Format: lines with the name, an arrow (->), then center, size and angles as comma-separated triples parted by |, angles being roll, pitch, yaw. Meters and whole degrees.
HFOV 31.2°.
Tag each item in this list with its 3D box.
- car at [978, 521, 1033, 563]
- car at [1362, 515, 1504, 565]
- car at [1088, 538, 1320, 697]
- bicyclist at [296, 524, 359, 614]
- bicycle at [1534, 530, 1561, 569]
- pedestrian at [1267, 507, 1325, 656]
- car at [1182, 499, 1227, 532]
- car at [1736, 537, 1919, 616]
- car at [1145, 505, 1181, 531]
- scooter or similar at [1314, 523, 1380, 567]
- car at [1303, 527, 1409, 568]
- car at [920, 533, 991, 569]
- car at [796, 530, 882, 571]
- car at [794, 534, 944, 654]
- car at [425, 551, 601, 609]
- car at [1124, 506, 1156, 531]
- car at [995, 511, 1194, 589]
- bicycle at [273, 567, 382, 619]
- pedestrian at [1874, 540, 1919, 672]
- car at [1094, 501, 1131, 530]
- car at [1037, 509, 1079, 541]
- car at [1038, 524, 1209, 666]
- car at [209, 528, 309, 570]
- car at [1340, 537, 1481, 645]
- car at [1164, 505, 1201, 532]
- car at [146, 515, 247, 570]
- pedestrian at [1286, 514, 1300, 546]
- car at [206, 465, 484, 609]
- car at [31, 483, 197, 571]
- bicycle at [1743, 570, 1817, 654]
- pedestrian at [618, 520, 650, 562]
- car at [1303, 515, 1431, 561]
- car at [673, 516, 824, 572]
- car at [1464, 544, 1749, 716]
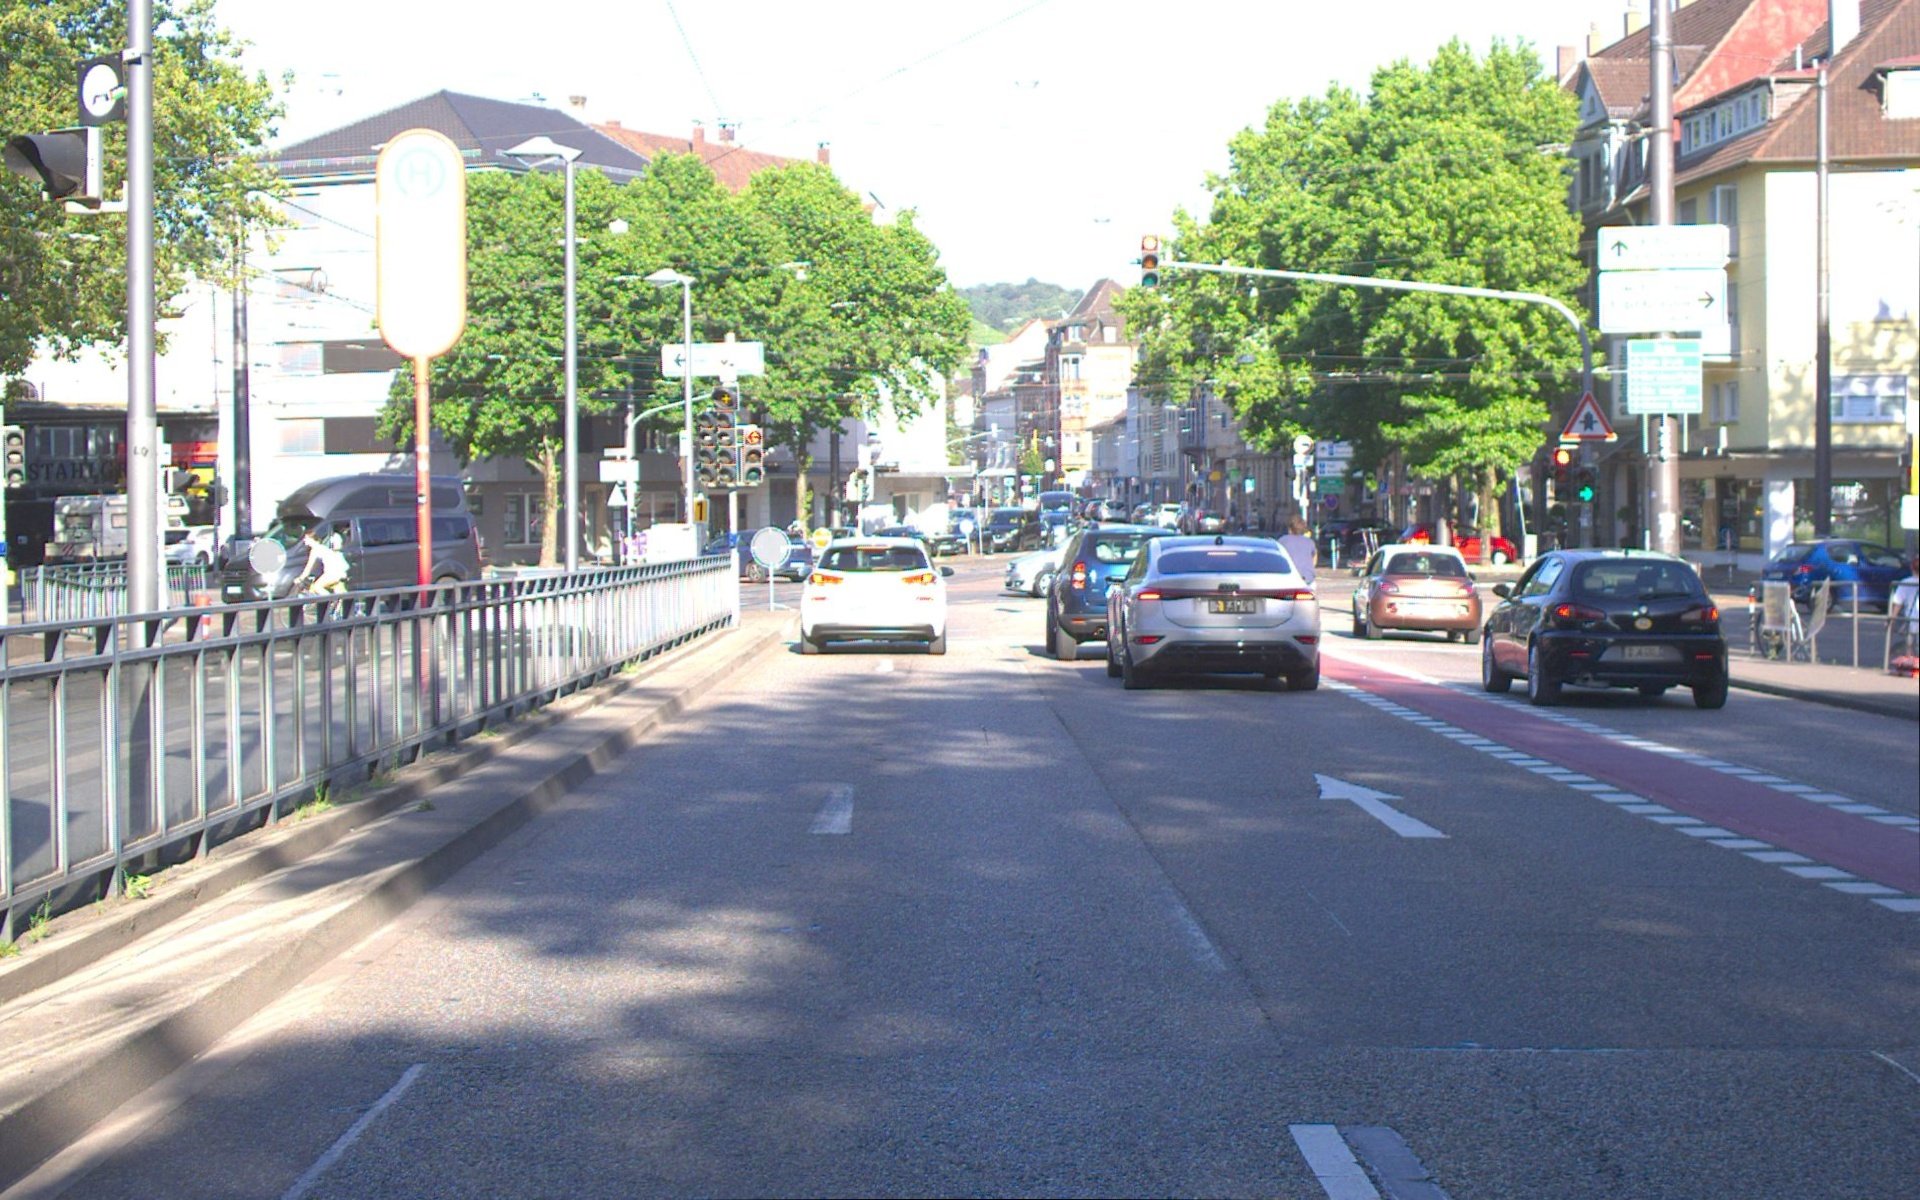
car -> 2.031, -2.572, 151.893 | 1.795, 1.820, 3.999 | 0, 1, 10
car -> 14.543, -1.864, 105.823 | 3.986, 1.505, 1.801 | -1, 1, -9
car -> 2.380, 0.119, 34.680 | 1.929, 1.467, 4.855 | 0, 1, -1
bicyclist -> -9.938, -0.489, 54.023 | 0.801, 1.409, 0.527 | 0, 1, 15
bicycle -> 17.035, -1.473, 99.727 | 0.609, 1.104, 1.800 | 0, 1, 4
pedestrian -> 4.258, -0.242, 43.586 | 0.657, 1.864, 0.678 | 0, 1, -1
car -> 13.375, -4.620, 188.138 | 2.105, 1.770, 4.342 | 0, 1, -1
car -> 17.241, -0.474, 66.540 | 3.986, 1.505, 1.801 | 0, 1, -19
car -> 11.830, -4.776, 200.824 | 1.794, 1.505, 4.000 | 0, 1, -1
scooter or similar -> 11.242, -1.595, 99.853 | 1.949, 1.276, 0.552 | 1, 2, 41
car -> 15.017, -1.994, 130.373 | 3.989, 1.505, 1.799 | -2, 2, -42
car -> -0.162, -2.063, 144.461 | 1.796, 1.505, 3.996 | 0, 1, 18
car -> -4.576, -1.866, 130.402 | 1.726, 1.505, 3.871 | 0, 1, 24
car -> -1.142, -0.108, 43.623 | 1.808, 1.447, 4.000 | 0, 1, -1
car -> -9.131, -0.415, 70.321 | 2.904, 1.158, 2.073 | 0, 0, -41
car -> 11.506, -5.213, 220.058 | 1.794, 1.517, 4.000 | 0, 1, -1
car -> 2.960, -1.110, 76.110 | 4.146, 1.686, 1.822 | 0, 1, -7
bicycle -> -9.938, -0.111, 54.030 | 1.612, 0.813, 0.527 | 0, 1, 15
pedestrian -> 11.417, 0.071, 41.465 | 0.648, 1.557, 0.631 | 3, 1, 18
car -> 10.880, -6.011, 245.070 | 2.327, 2.007, 4.977 | 0, 1, -1
car -> 4.729, -3.633, 166.498 | 1.794, 1.505, 4.001 | 0, 1, -2
car -> 1.934, -0.100, 41.791 | 1.800, 1.632, 4.045 | 0, 1, -1
car -> -25.312, -1.852, 124.222 | 1.796, 1.505, 4.007 | 0, 1, 18
car -> 6.894, -0.167, 52.956 | 1.794, 1.505, 4.000 | 0, 2, 2
car -> 12.590, -4.627, 194.666 | 1.794, 1.505, 4.000 | 0, 1, -1
car -> -27.747, -2.104, 125.087 | 1.796, 1.949, 3.997 | 0, 1, 18
pedestrian -> 17.375, -3.661, 179.406 | 0.648, 1.645, 0.650 | 1, 0, 10
car -> -12.071, -1.205, 67.647 | 5.016, 2.733, 2.073 | 0, 0, -41
car -> -30.972, -2.684, 126.092 | 2.499, 3.154, 6.528 | 0, 1, 22
bicycle -> 10.704, 0.150, 44.900 | 0.498, 1.071, 1.800 | 1, 0, -1
pedestrian -> -11.705, -2.113, 123.321 | 0.803, 1.479, 0.861 | 0, 1, 25
car -> 13.747, -2.088, 116.153 | 3.986, 1.505, 1.800 | 0, 1, -6
car -> -5.817, -1.553, 94.353 | 3.996, 1.505, 1.796 | 1, 1, 39
car -> 5.923, 0.228, 31.930 | 1.800, 1.434, 4.045 | 1, 1, -1
